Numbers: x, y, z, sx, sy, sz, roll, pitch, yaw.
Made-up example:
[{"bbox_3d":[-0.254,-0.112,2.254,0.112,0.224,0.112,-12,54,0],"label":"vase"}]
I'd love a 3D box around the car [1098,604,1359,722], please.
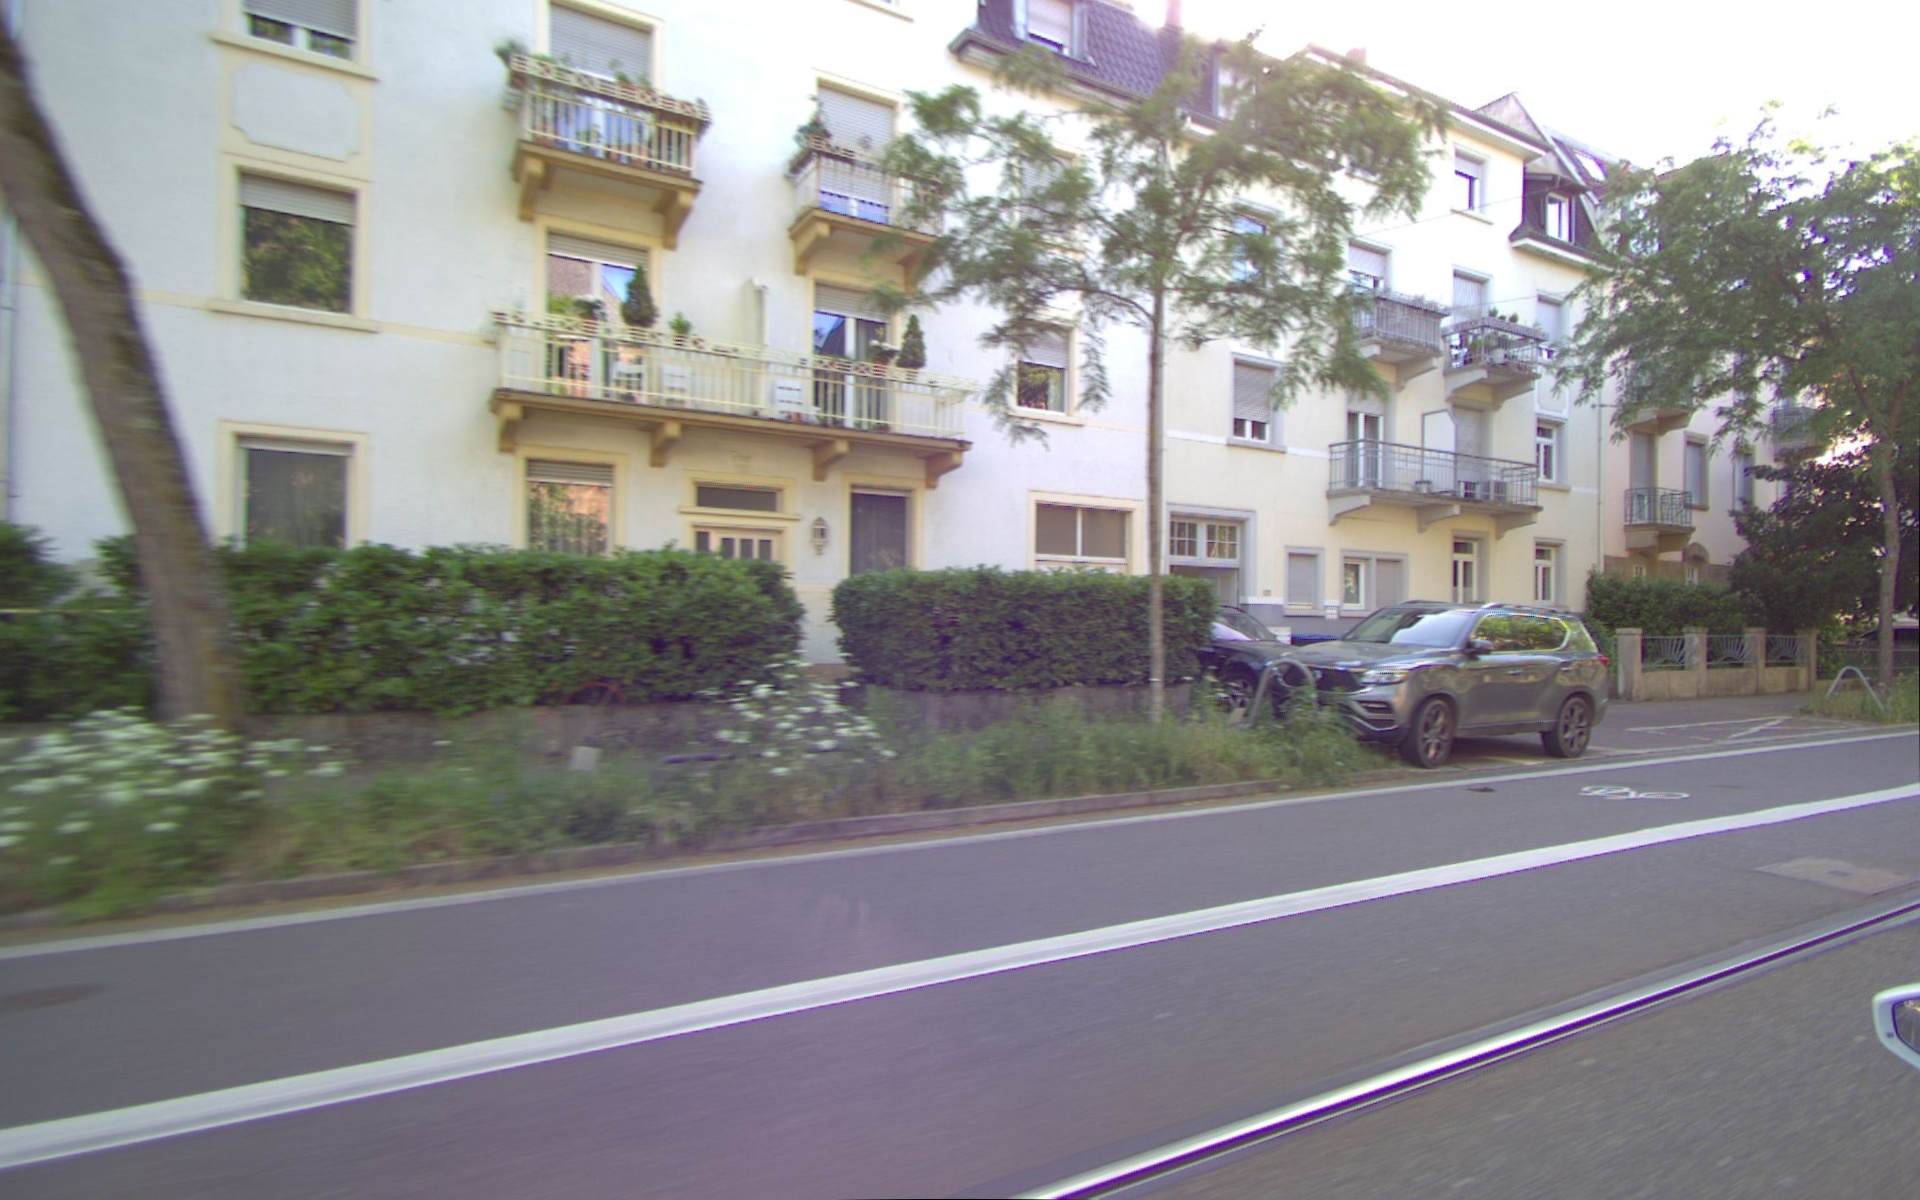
[{"bbox_3d":[4.438,0.960,17.305,1.928,1.683,4.283,1,0,-28],"label":"car"}]

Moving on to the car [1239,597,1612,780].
[{"bbox_3d":[5.748,0.938,12.217,4.719,1.847,1.860,1,0,-32],"label":"car"}]

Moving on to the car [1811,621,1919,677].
[{"bbox_3d":[30.612,1.597,32.623,1.961,1.681,4.145,1,0,-31],"label":"car"}]

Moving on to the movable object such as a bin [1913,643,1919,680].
[{"bbox_3d":[29.201,1.844,29.995,0.804,1.080,0.871,1,-1,-30],"label":"movable object such as a bin"}]
